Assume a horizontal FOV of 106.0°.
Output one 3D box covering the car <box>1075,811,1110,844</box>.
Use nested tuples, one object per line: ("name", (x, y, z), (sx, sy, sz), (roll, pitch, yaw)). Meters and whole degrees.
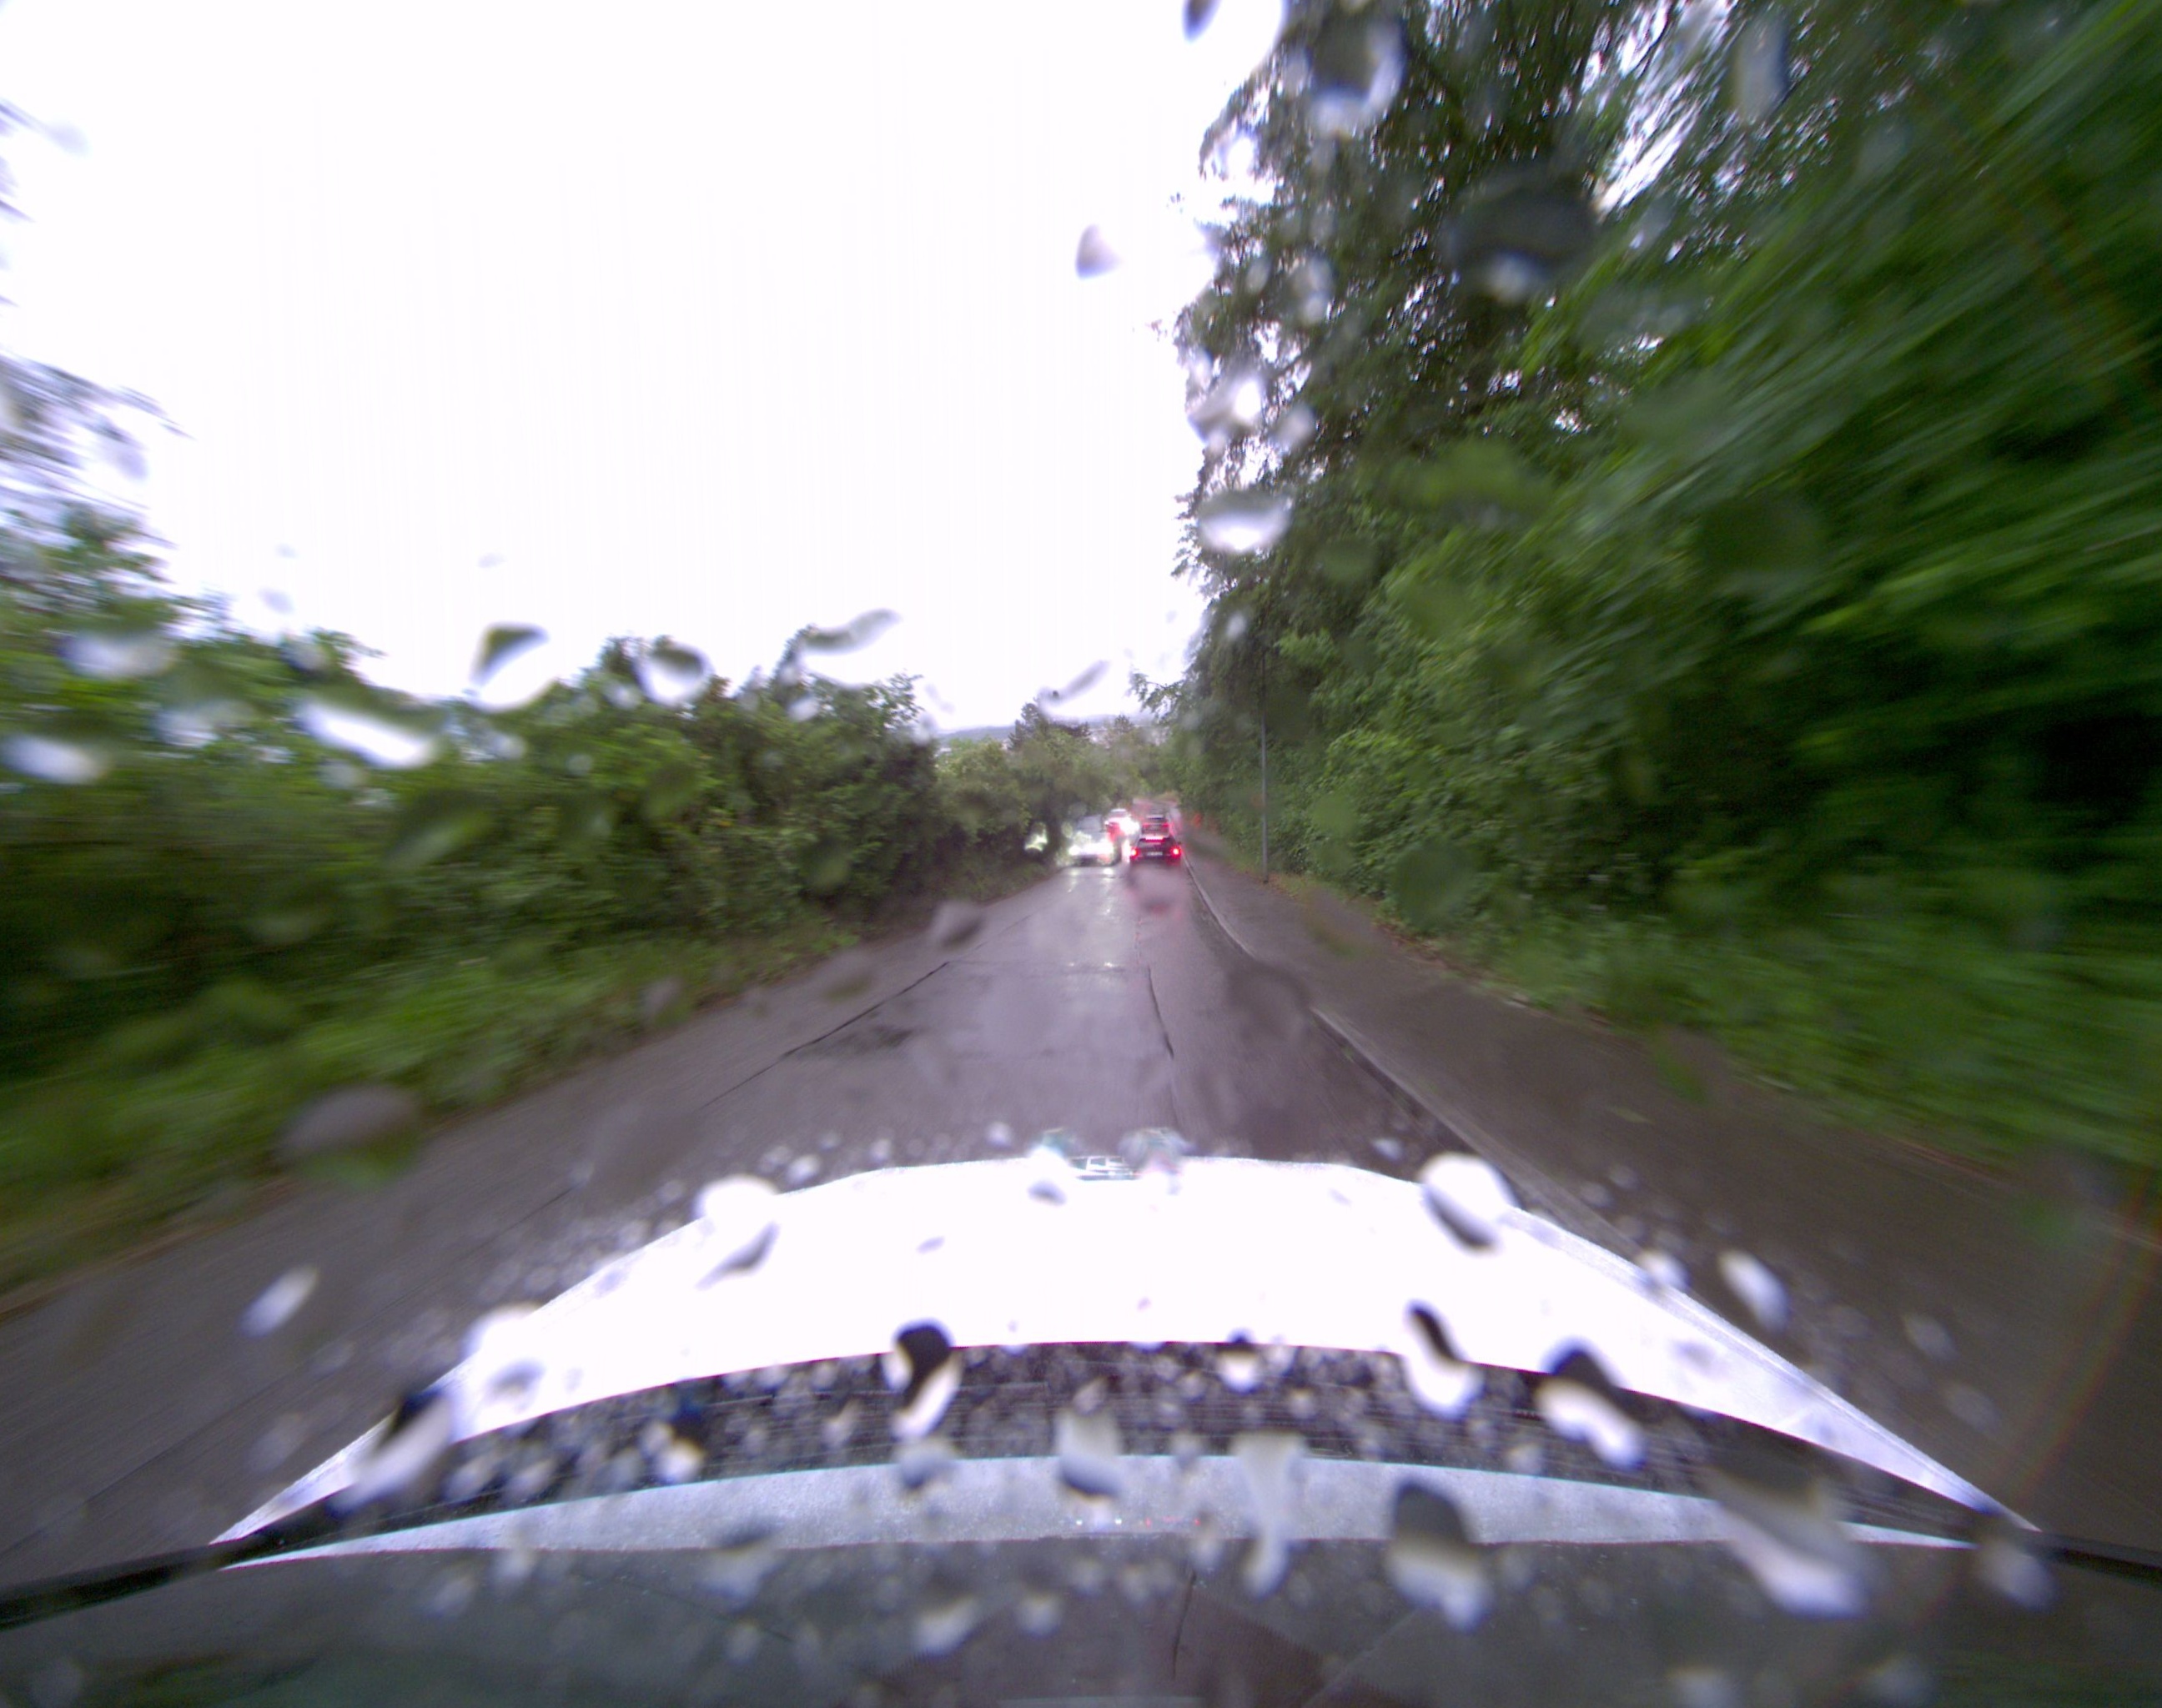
("car", (0.753, -1.717, 51.325), (1.680, 1.782, 4.242), (-3, 5, 6))

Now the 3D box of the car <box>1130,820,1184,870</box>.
("car", (2.649, -0.367, 29.092), (1.693, 1.449, 4.004), (-3, 4, 2))

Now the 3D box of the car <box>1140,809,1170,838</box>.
("car", (4.915, -2.008, 54.061), (1.854, 1.743, 4.005), (-1, 0, 5))

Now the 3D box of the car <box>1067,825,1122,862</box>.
("car", (0.689, -0.451, 37.171), (1.930, 1.522, 4.589), (-1, 0, 8))

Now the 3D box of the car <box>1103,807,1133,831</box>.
("car", (2.837, -2.659, 61.193), (2.038, 1.600, 4.237), (0, 6, 5))
